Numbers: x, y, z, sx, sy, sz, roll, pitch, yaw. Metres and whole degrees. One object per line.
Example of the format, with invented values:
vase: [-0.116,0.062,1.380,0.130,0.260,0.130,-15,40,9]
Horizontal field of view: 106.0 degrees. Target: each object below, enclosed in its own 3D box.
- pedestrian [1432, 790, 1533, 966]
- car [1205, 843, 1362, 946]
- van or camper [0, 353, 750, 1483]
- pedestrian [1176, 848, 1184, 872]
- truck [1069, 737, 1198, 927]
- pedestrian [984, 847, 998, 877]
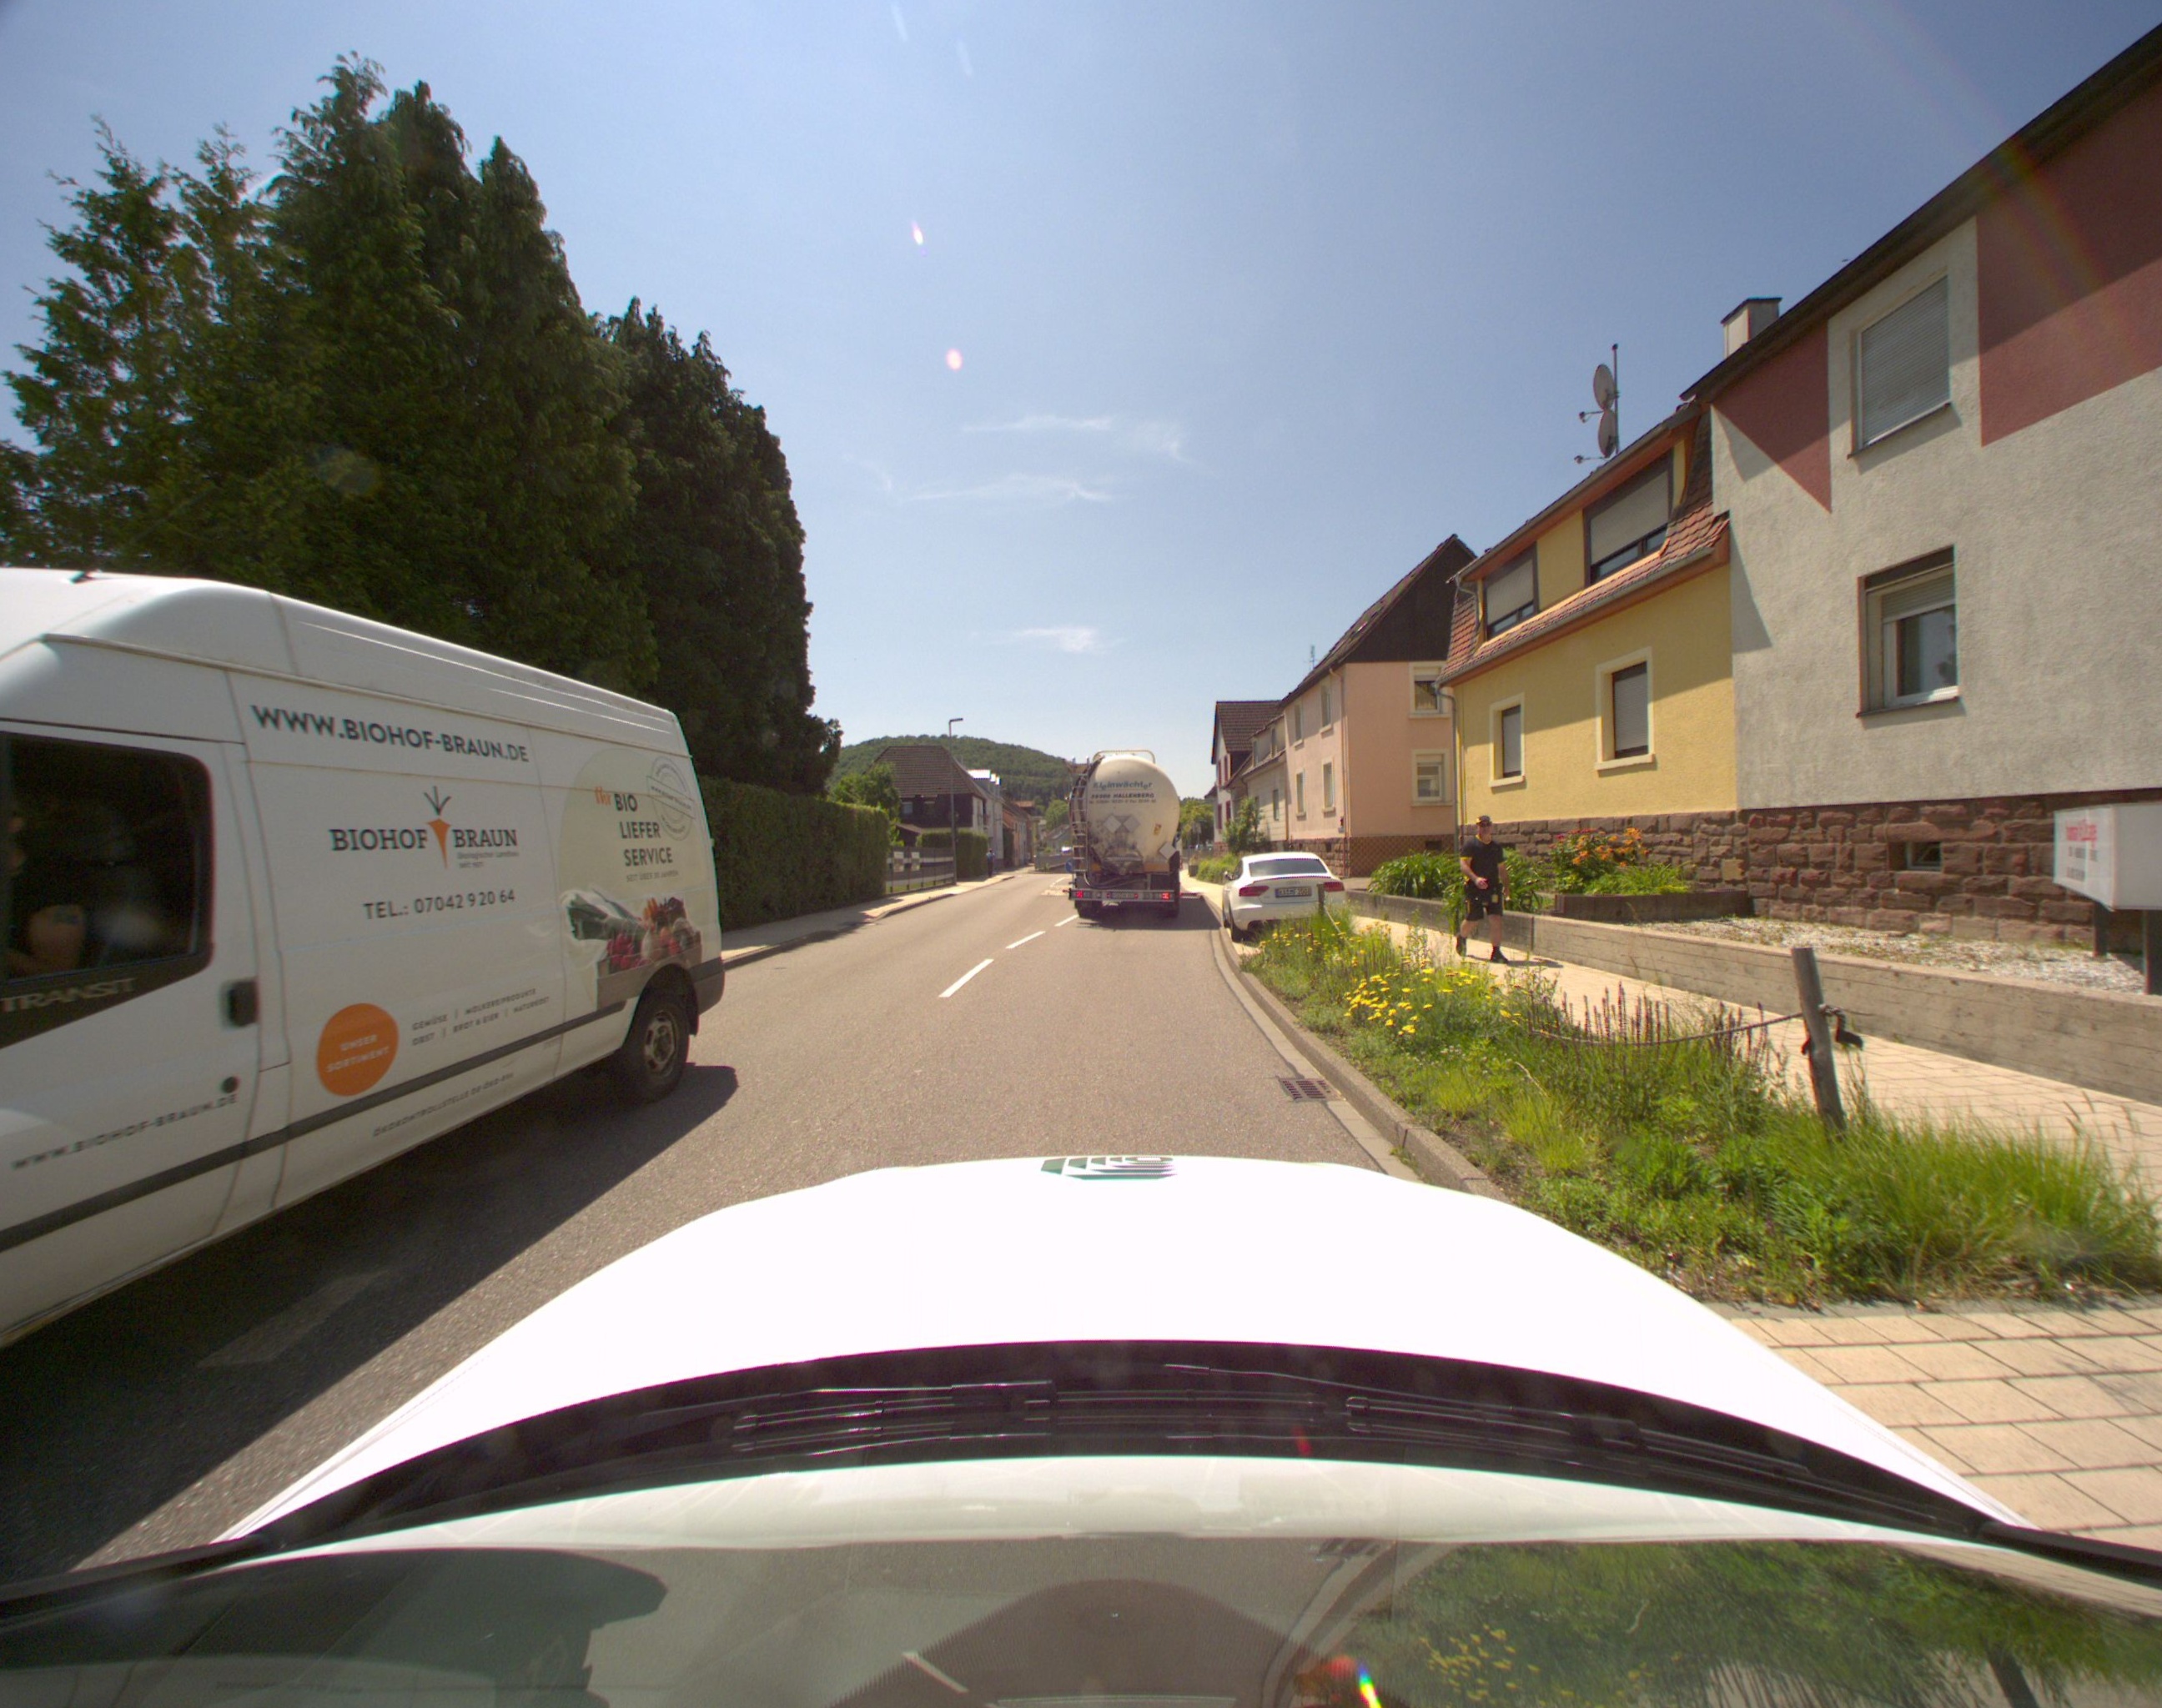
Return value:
pedestrian: [4.835,0.284,9.881,0.743,2.014,1.034,0,-1,2]
car: [3.314,0.648,14.251,1.749,1.418,4.636,-3,-2,3]
van or camper: [-3.601,0.187,3.308,2.031,2.713,5.823,-2,-1,0]
pedestrian: [7.138,0.419,58.696,0.568,1.694,0.722,0,-1,5]
truck: [1.165,-0.469,22.924,2.741,4.057,10.889,0,0,0]
pedestrian: [-5.420,0.487,49.066,0.710,1.823,0.897,0,-1,-3]
